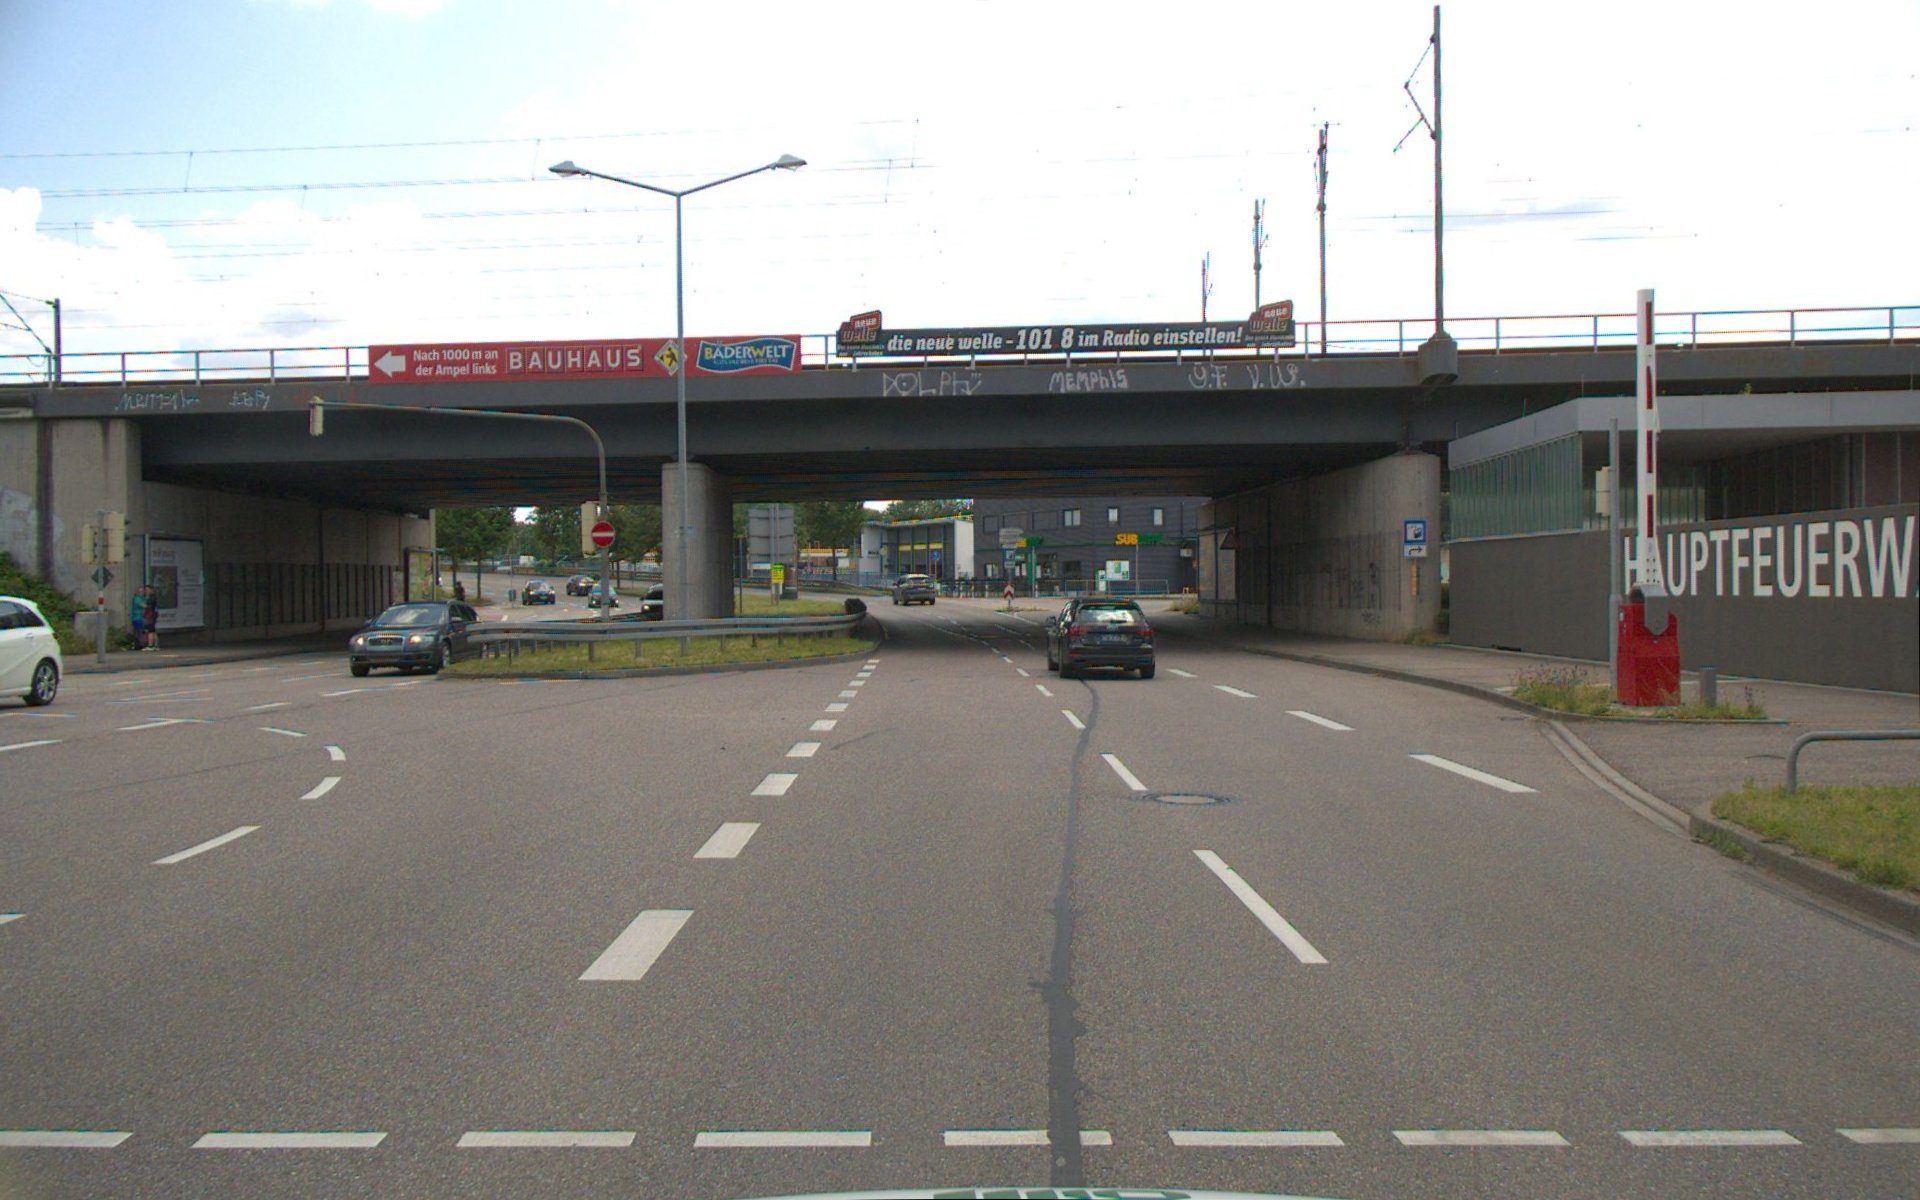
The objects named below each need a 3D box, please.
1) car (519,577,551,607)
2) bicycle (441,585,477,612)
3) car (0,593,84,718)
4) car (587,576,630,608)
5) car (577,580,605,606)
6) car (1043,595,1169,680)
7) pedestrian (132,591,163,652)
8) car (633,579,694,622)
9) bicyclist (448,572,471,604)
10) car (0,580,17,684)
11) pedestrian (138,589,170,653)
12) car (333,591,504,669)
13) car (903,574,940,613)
[{"bbox_3d":[-30.222,-0.570,117.680,1.958,2.049,4.324,-1,1,-12],"label":"car"},{"bbox_3d":[-22.510,-0.073,74.348,0.666,1.162,2.285,0,0,7],"label":"bicycle"},{"bbox_3d":[-13.680,0.754,21.965,1.769,1.660,4.392,-1,0,-1],"label":"car"},{"bbox_3d":[-22.973,-0.529,108.250,1.953,2.049,4.335,-1,1,-2],"label":"car"},{"bbox_3d":[-29.763,-0.604,133.404,1.957,2.049,4.326,-1,1,-10],"label":"car"},{"bbox_3d":[2.713,0.658,31.691,1.953,1.414,4.575,0,1,-1],"label":"car"},{"bbox_3d":[-22.359,0.586,45.531,0.543,1.653,0.586,-1,0,0],"label":"pedestrian"},{"bbox_3d":[-12.890,0.000,72.131,1.954,1.789,4.714,-1,0,-3],"label":"car"},{"bbox_3d":[-22.506,-0.526,74.365,0.667,1.432,0.925,0,0,6],"label":"bicyclist"},{"bbox_3d":[-20.632,0.670,31.753,1.954,2.049,3.997,-1,0,25],"label":"car"},{"bbox_3d":[-21.818,0.567,44.802,0.579,1.710,0.555,-1,0,-3],"label":"pedestrian"},{"bbox_3d":[-10.892,0.553,33.659,1.934,1.413,4.780,-2,0,-1],"label":"car"},{"bbox_3d":[-2.145,-0.373,92.790,1.953,2.073,4.712,-1,0,0],"label":"car"}]
